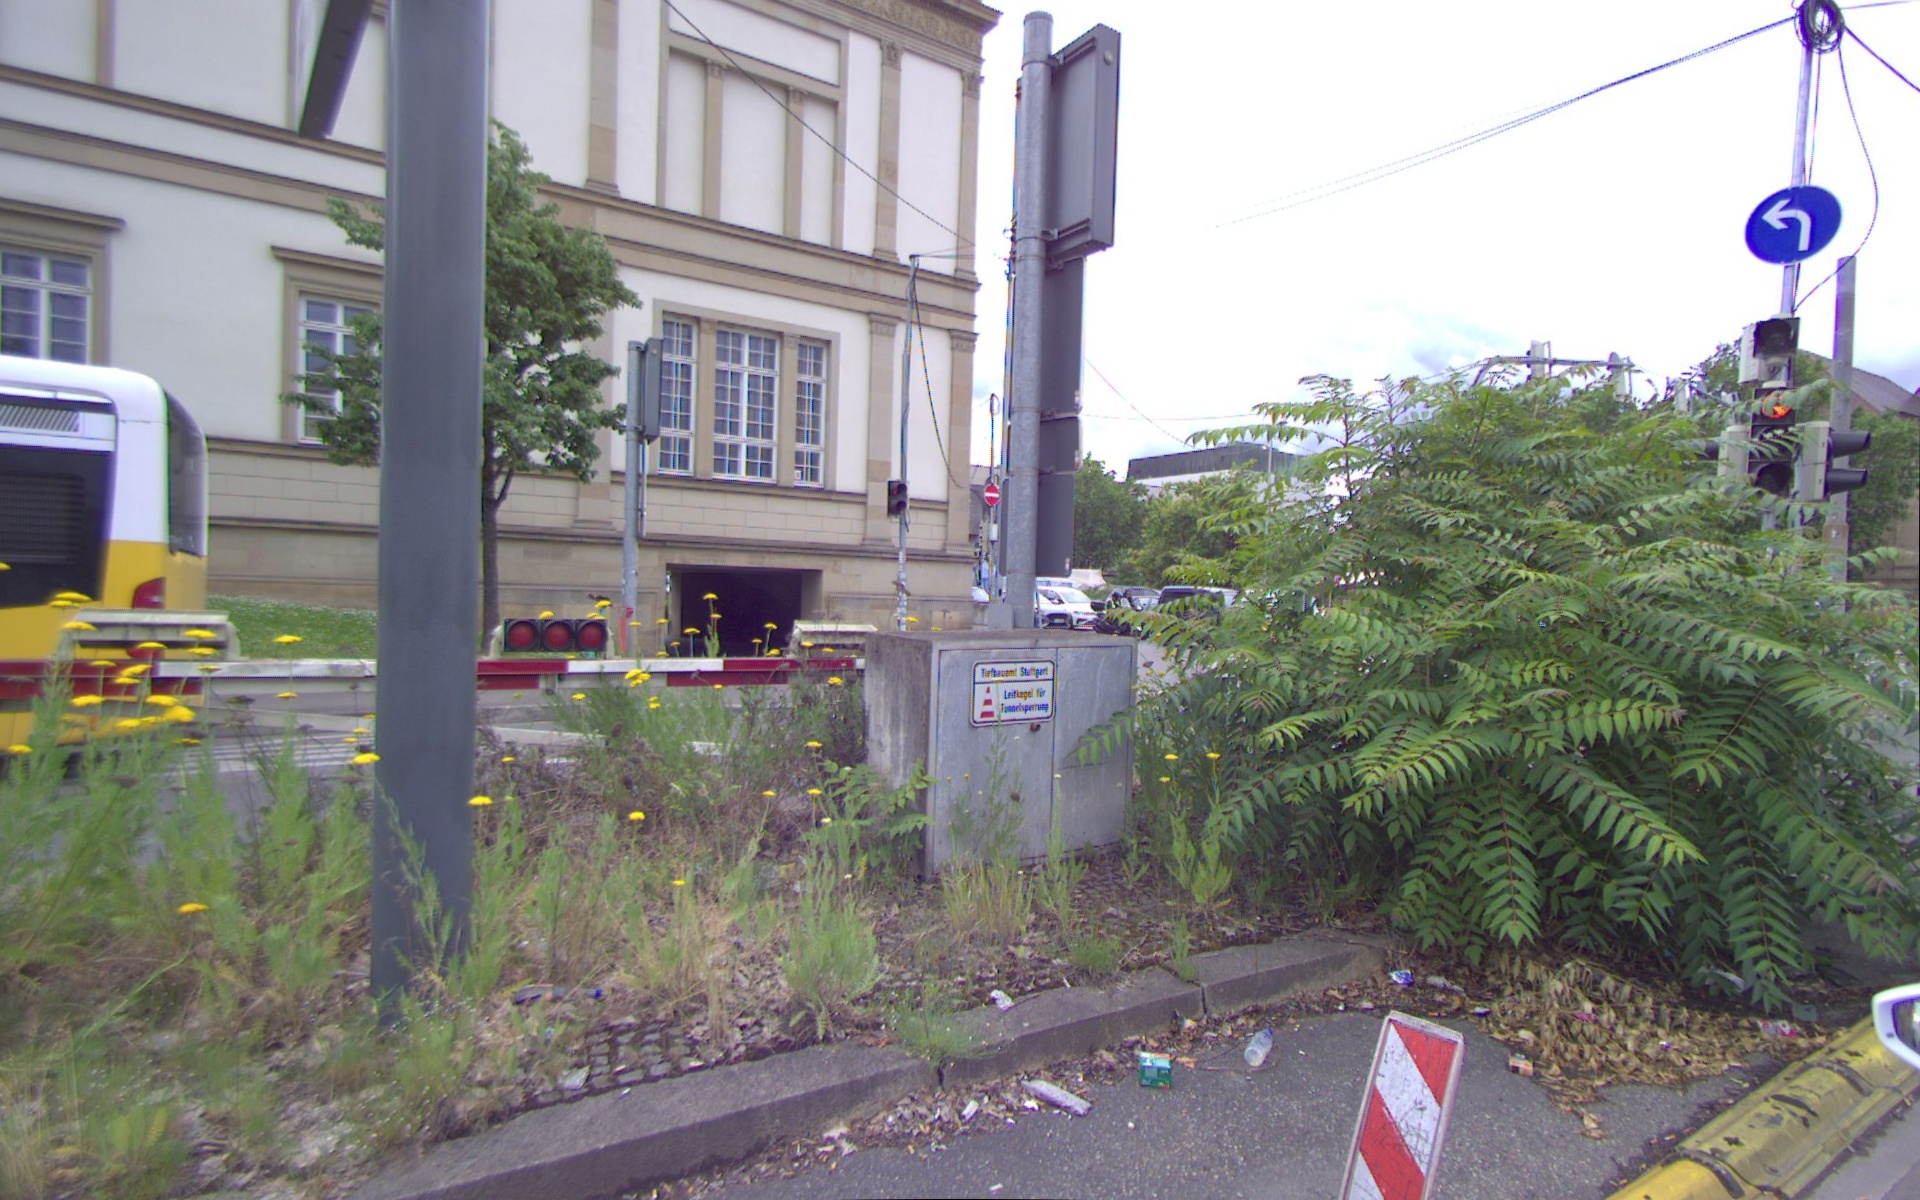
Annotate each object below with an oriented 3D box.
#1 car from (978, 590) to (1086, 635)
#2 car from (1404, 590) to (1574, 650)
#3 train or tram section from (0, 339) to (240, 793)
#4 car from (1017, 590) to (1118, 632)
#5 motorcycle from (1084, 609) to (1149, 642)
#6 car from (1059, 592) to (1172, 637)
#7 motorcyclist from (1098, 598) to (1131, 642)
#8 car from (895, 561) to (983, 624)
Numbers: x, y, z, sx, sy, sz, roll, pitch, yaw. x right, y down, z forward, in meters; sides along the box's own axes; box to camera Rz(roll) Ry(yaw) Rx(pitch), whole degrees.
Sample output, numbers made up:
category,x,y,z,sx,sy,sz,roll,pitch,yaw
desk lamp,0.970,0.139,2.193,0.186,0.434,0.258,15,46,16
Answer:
category,x,y,z,sx,sy,sz,roll,pitch,yaw
car,2.643,0.431,37.666,1.978,1.568,4.083,2,0,-32
car,17.060,0.618,32.557,1.984,1.783,4.452,2,0,-40
train or tram section,-10.287,-0.278,6.198,9.229,3.112,2.680,1,-1,-31
car,4.298,0.423,40.859,1.978,1.568,4.084,2,0,-32
motorcycle,5.063,0.823,32.697,0.690,0.953,2.335,2,0,-32
car,5.759,0.511,37.605,1.978,1.568,4.084,2,0,-32
motorcyclist,5.041,0.654,32.753,0.690,1.398,0.784,2,0,-33
car,-0.975,-0.325,43.800,1.978,2.585,4.083,2,0,-32
